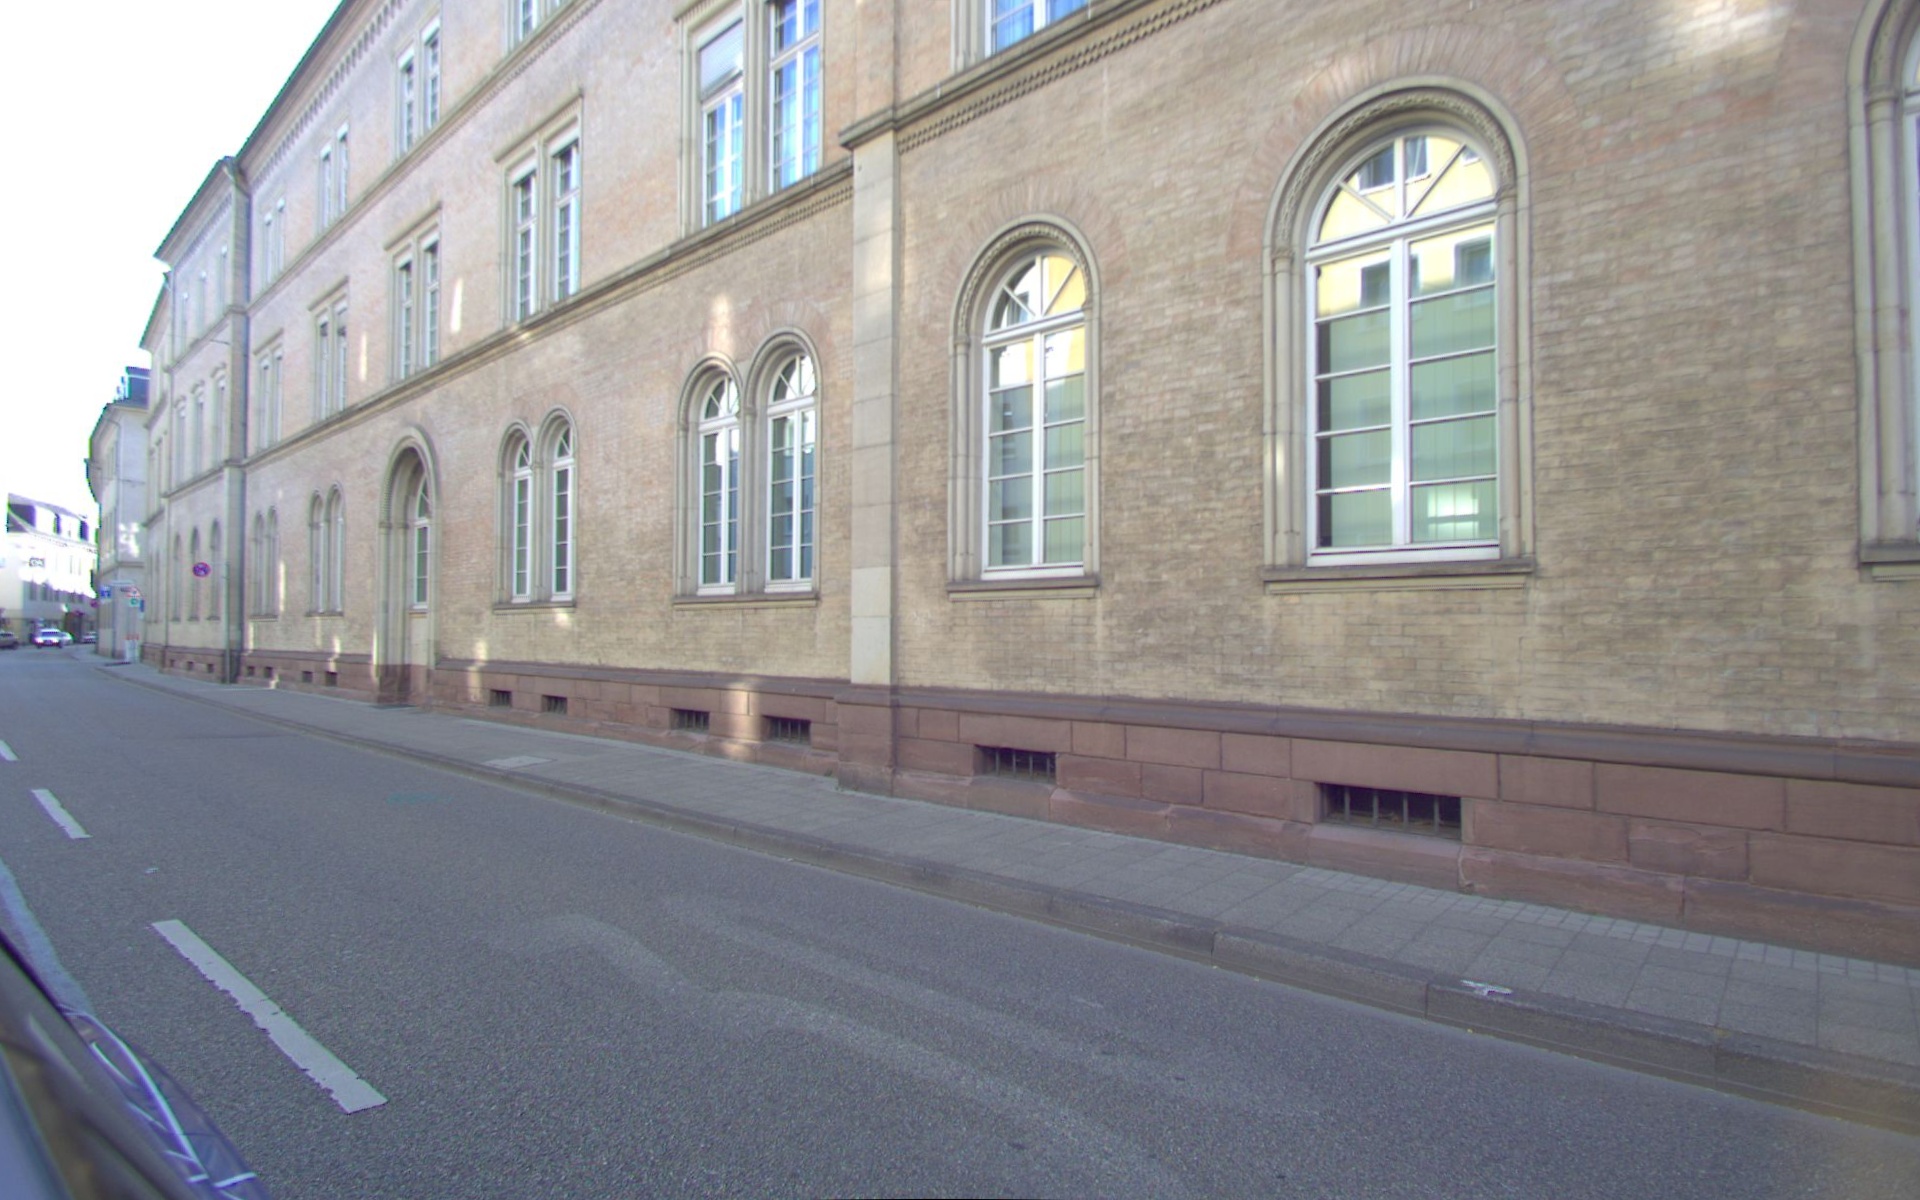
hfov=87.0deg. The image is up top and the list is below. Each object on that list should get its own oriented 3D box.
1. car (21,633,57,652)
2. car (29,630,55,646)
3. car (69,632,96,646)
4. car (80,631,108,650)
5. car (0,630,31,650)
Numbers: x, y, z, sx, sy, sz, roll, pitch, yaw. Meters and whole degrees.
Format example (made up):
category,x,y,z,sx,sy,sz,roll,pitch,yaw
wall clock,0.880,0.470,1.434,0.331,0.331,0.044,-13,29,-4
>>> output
category,x,y,z,sx,sy,sz,roll,pitch,yaw
car,-85.953,3.932,94.472,1.892,1.735,4.972,1,-2,-35
car,-102.383,4.185,112.904,1.511,1.737,3.749,1,-2,-34
car,-109.419,4.847,126.227,1.896,1.737,4.242,1,-2,-31
car,-80.314,3.745,93.921,1.638,1.737,3.748,1,-2,-36
car,-80.906,3.367,85.301,1.836,1.737,3.742,0,-2,-4
